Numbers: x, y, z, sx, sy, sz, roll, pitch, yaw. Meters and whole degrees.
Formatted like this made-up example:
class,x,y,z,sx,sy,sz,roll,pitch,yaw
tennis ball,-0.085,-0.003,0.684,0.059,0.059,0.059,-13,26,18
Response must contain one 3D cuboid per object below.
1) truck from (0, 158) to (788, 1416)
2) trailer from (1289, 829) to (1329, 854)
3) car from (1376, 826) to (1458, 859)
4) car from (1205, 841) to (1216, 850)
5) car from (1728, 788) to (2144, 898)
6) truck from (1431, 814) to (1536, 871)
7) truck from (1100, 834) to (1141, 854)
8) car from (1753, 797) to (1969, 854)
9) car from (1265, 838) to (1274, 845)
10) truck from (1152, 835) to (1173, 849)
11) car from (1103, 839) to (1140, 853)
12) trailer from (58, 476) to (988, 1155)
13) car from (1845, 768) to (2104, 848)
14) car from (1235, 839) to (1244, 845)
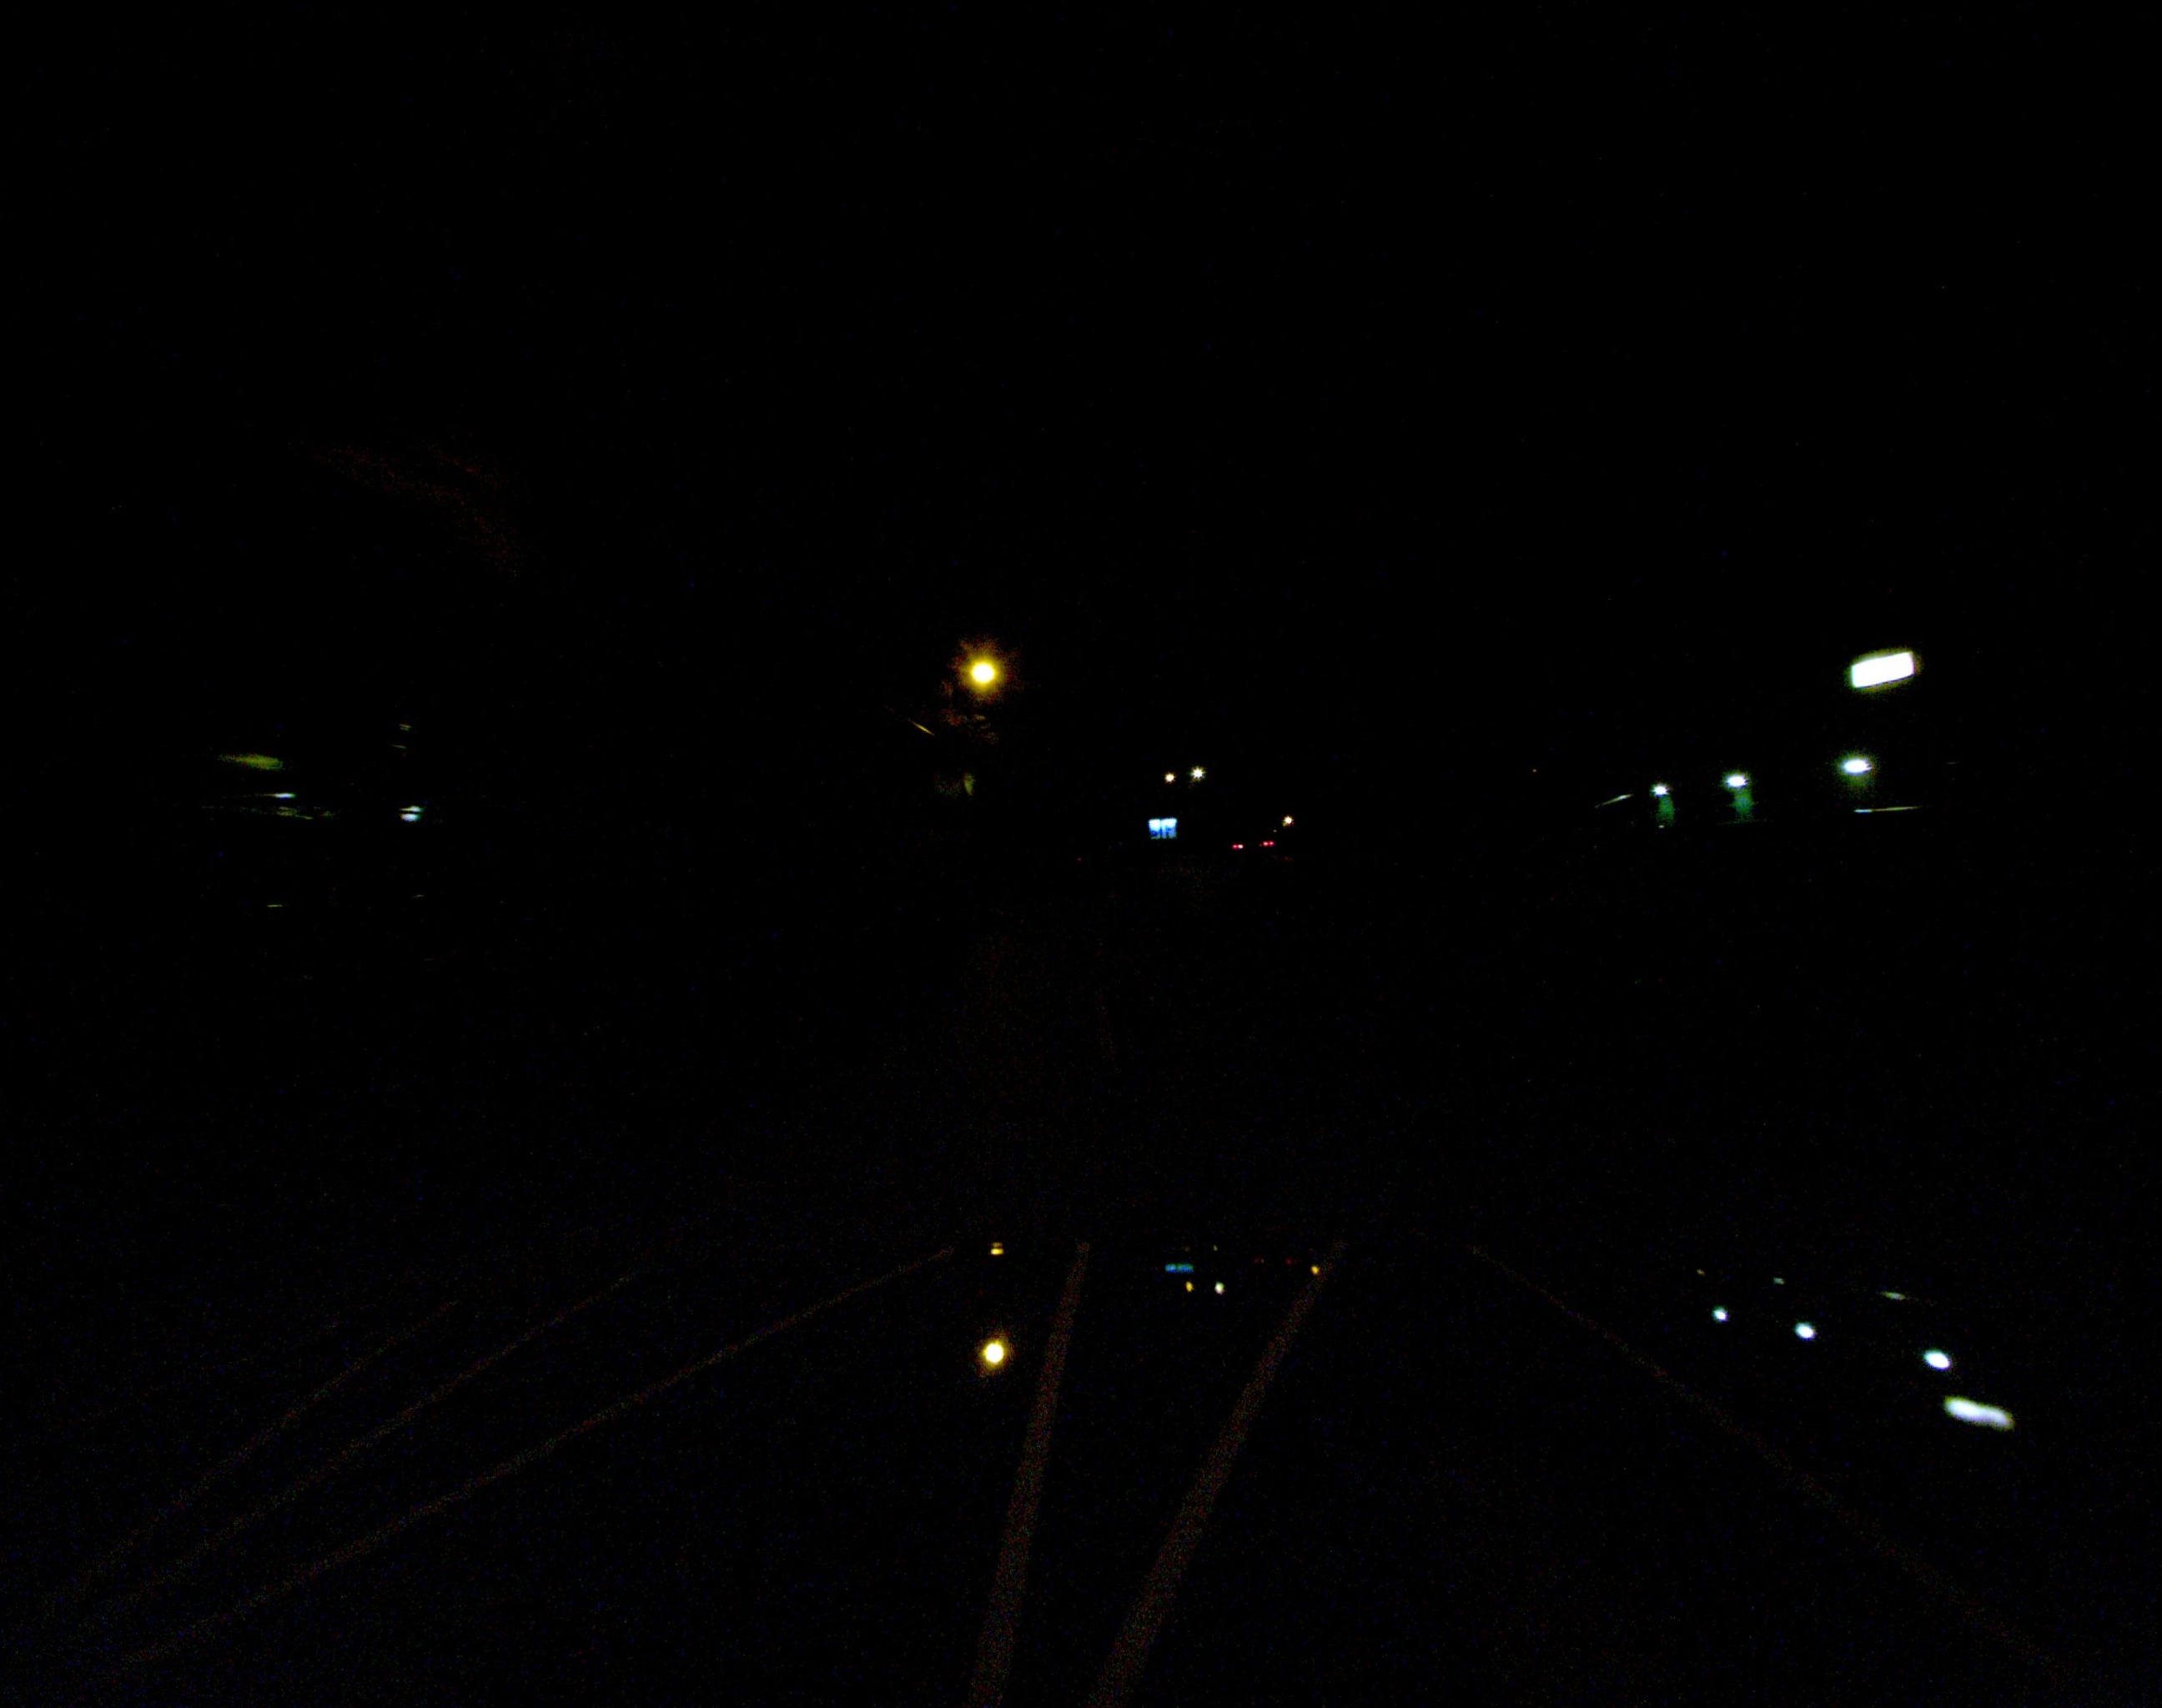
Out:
class,x,y,z,sx,sy,sz,roll,pitch,yaw
truck,-4.650,-0.226,4.710,2.836,3.960,6.051,-2,1,4
trailer,26.573,-1.453,88.704,4.354,2.704,2.002,-1,1,15
car,20.499,-0.695,46.484,4.135,1.762,2.001,-3,1,7
car,26.053,-1.759,153.195,1.938,1.543,4.002,-4,1,8
car,14.322,-0.151,13.238,1.833,1.485,4.525,-3,0,-7
truck,15.305,-0.450,29.235,1.997,1.889,5.320,-4,1,10
truck,5.879,-1.534,113.365,5.538,2.585,2.474,-3,1,14
car,23.653,-0.804,23.362,1.846,1.455,4.616,-4,1,0
car,41.320,-2.781,166.709,1.852,1.436,4.920,-3,1,12
truck,13.926,-2.084,129.147,2.381,2.271,7.750,-3,1,14
car,6.166,-1.219,115.839,5.080,1.826,1.991,-3,1,18
trailer,-4.218,-0.251,11.510,2.815,3.960,13.977,-2,1,4
car,26.259,-1.252,22.653,1.999,2.002,4.686,-4,1,-3
car,44.904,-3.370,215.198,1.996,1.618,4.756,-3,1,15
